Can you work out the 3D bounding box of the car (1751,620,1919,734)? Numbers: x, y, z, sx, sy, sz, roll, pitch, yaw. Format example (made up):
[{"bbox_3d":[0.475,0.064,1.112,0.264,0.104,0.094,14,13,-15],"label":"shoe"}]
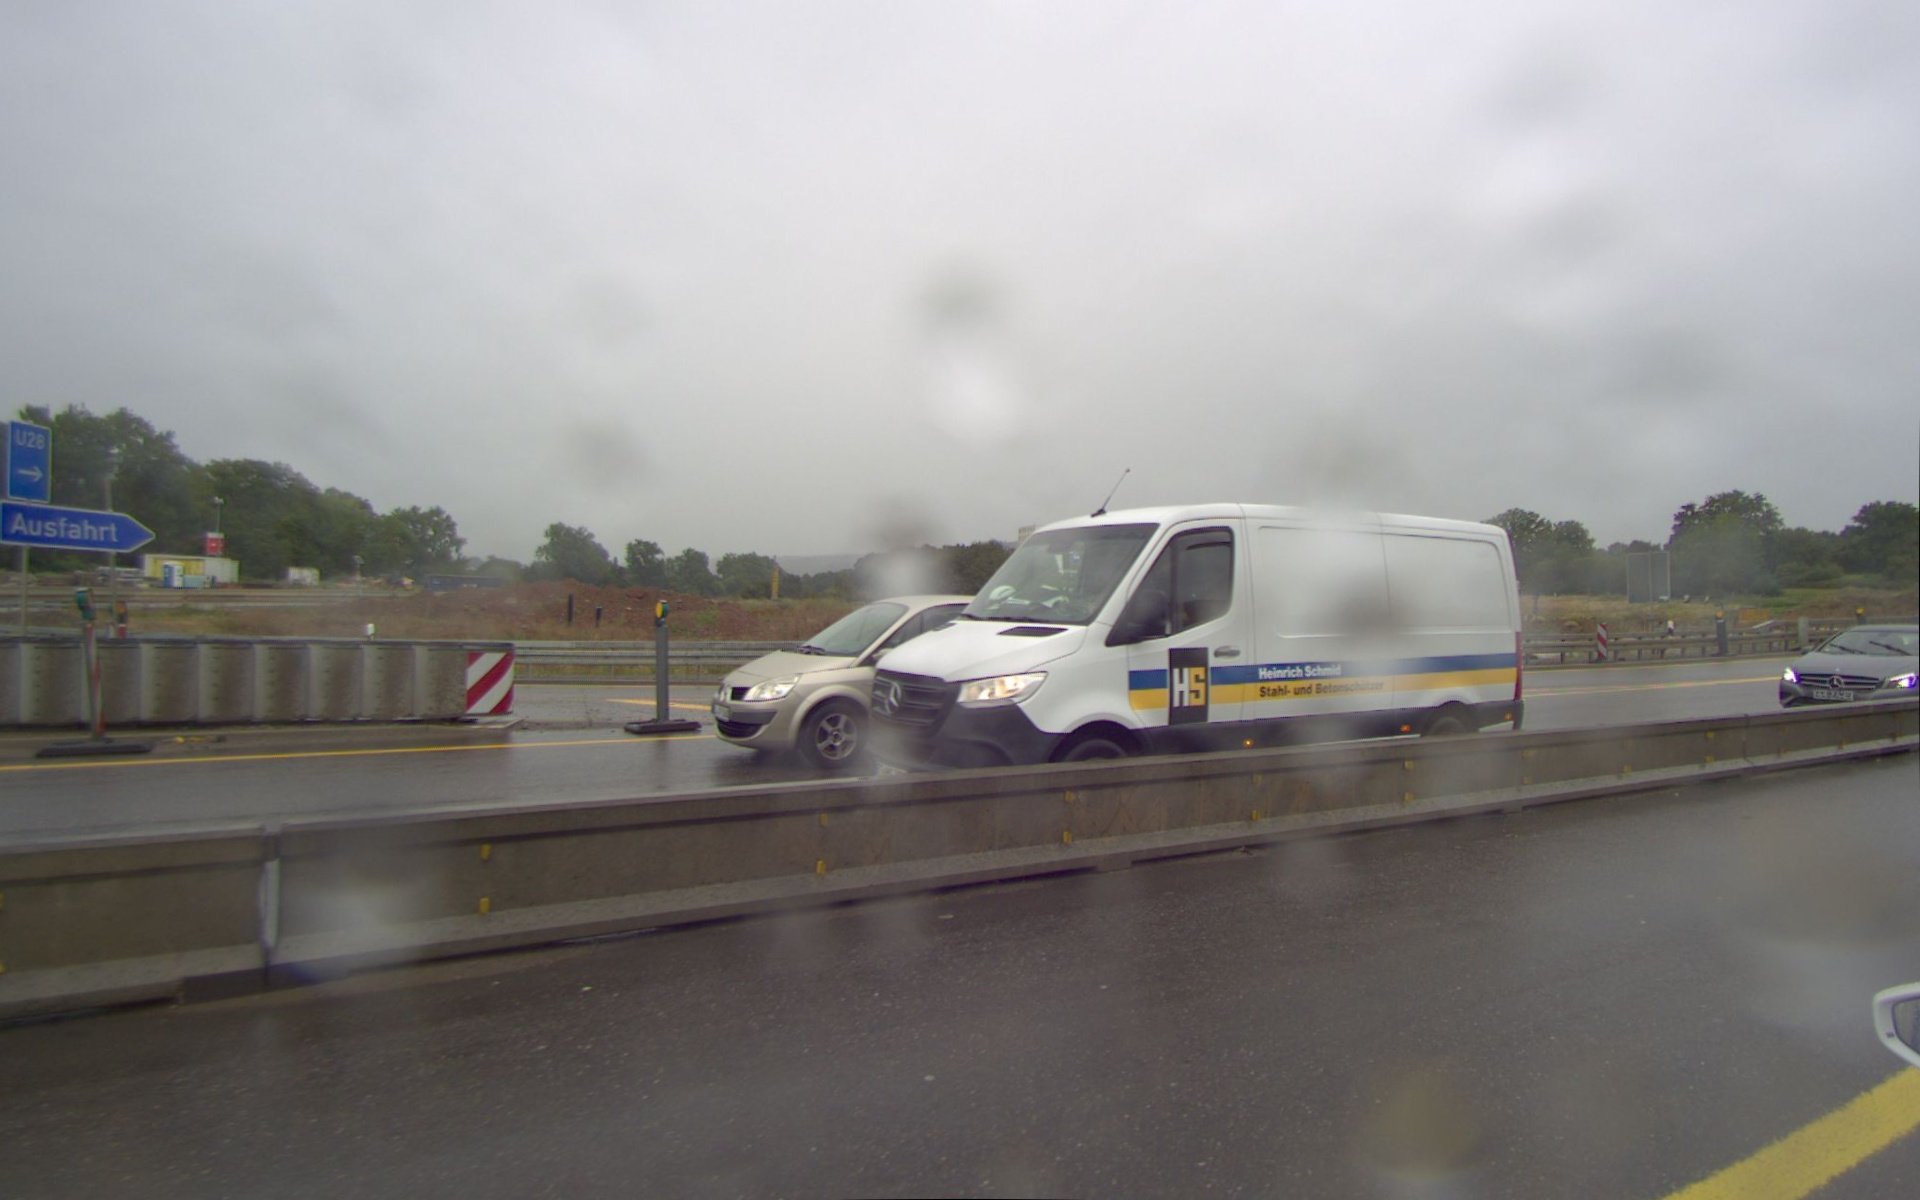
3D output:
[{"bbox_3d":[14.417,1.133,15.718,4.261,1.559,1.778,2,-1,-30],"label":"car"}]

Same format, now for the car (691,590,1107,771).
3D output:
[{"bbox_3d":[-0.584,0.736,10.460,3.953,1.567,1.779,1,0,-31],"label":"car"}]

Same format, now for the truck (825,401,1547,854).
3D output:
[{"bbox_3d":[2.066,0.271,8.198,5.893,2.610,2.068,3,-1,-31],"label":"truck"}]
